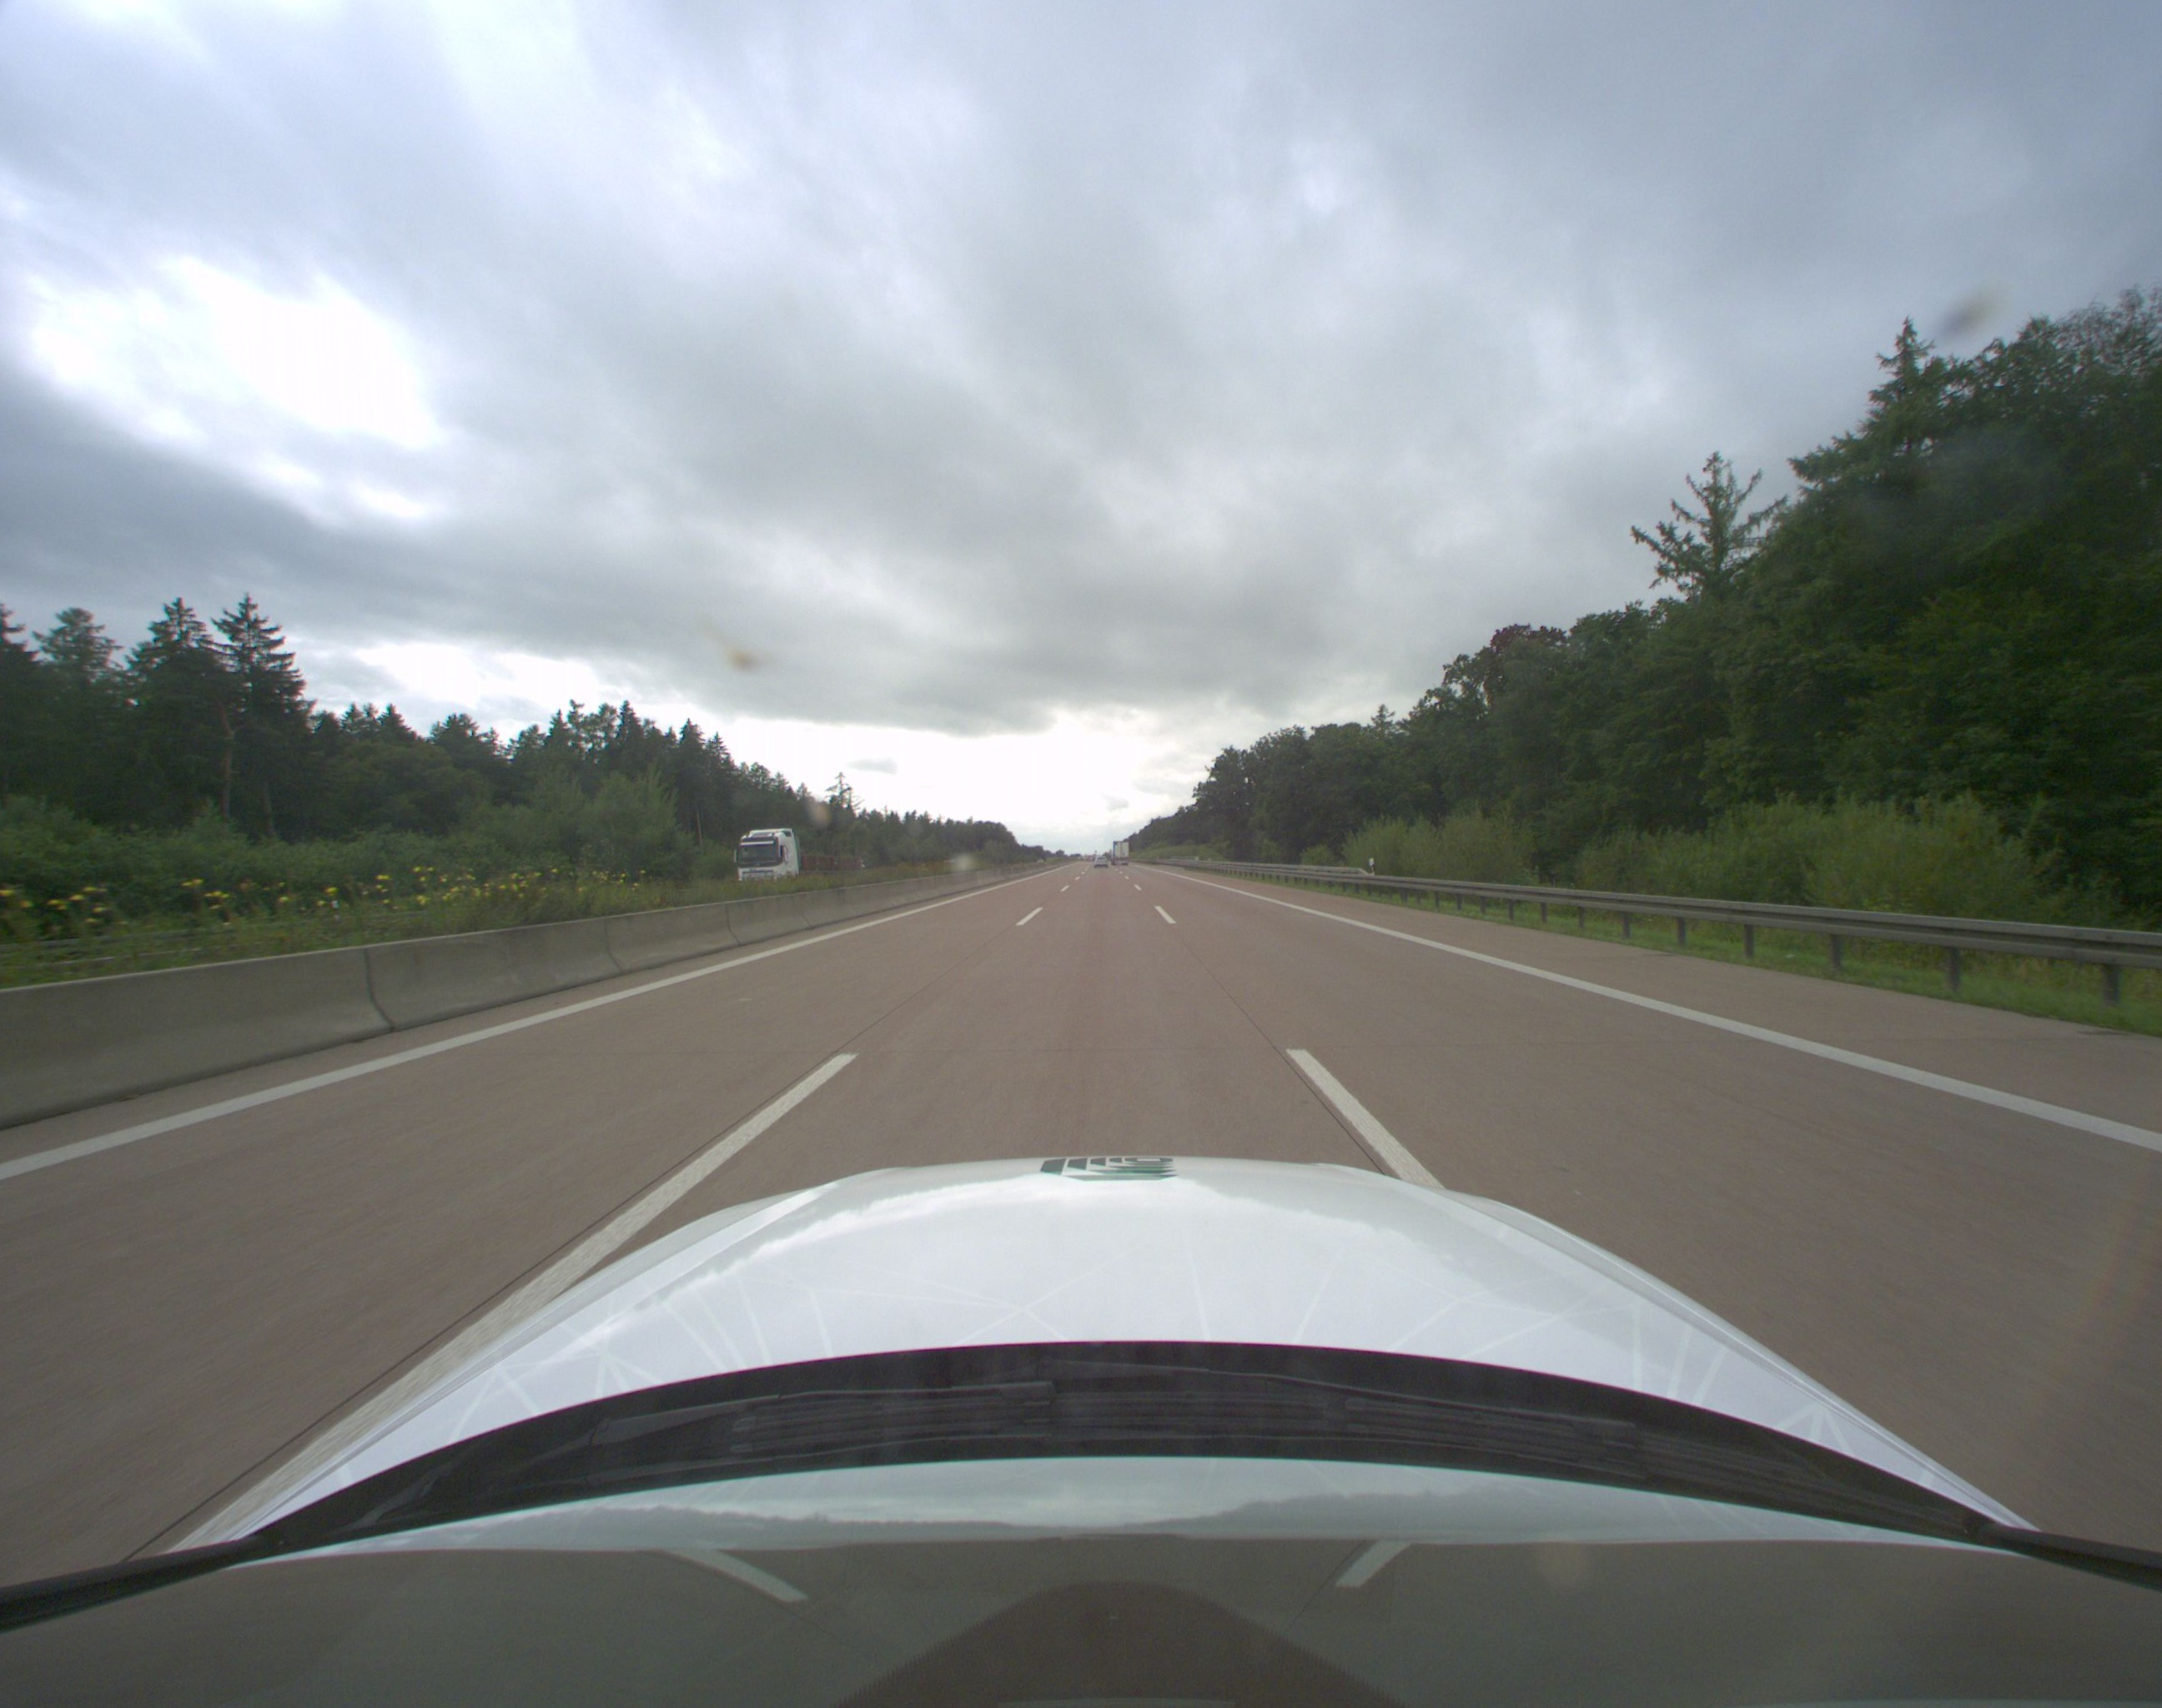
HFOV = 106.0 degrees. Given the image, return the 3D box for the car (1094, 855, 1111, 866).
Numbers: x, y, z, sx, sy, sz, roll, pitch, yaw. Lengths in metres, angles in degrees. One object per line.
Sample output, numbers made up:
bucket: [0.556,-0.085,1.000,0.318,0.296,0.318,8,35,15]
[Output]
car: [2.949,0.872,109.627,2.155,1.451,4.721,0,0,2]

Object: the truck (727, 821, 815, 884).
truck: [-17.815,-0.090,47.227,2.923,3.419,5.346,0,0,2]

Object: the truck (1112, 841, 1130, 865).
truck: [7.128,-0.165,146.685,2.911,4.294,5.335,-1,-1,1]

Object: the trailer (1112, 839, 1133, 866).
trailer: [7.036,-0.210,139.058,2.911,4.294,13.614,-1,-1,1]

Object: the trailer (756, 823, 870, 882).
trailer: [-17.570,-0.083,54.816,2.923,3.419,13.275,0,0,2]
